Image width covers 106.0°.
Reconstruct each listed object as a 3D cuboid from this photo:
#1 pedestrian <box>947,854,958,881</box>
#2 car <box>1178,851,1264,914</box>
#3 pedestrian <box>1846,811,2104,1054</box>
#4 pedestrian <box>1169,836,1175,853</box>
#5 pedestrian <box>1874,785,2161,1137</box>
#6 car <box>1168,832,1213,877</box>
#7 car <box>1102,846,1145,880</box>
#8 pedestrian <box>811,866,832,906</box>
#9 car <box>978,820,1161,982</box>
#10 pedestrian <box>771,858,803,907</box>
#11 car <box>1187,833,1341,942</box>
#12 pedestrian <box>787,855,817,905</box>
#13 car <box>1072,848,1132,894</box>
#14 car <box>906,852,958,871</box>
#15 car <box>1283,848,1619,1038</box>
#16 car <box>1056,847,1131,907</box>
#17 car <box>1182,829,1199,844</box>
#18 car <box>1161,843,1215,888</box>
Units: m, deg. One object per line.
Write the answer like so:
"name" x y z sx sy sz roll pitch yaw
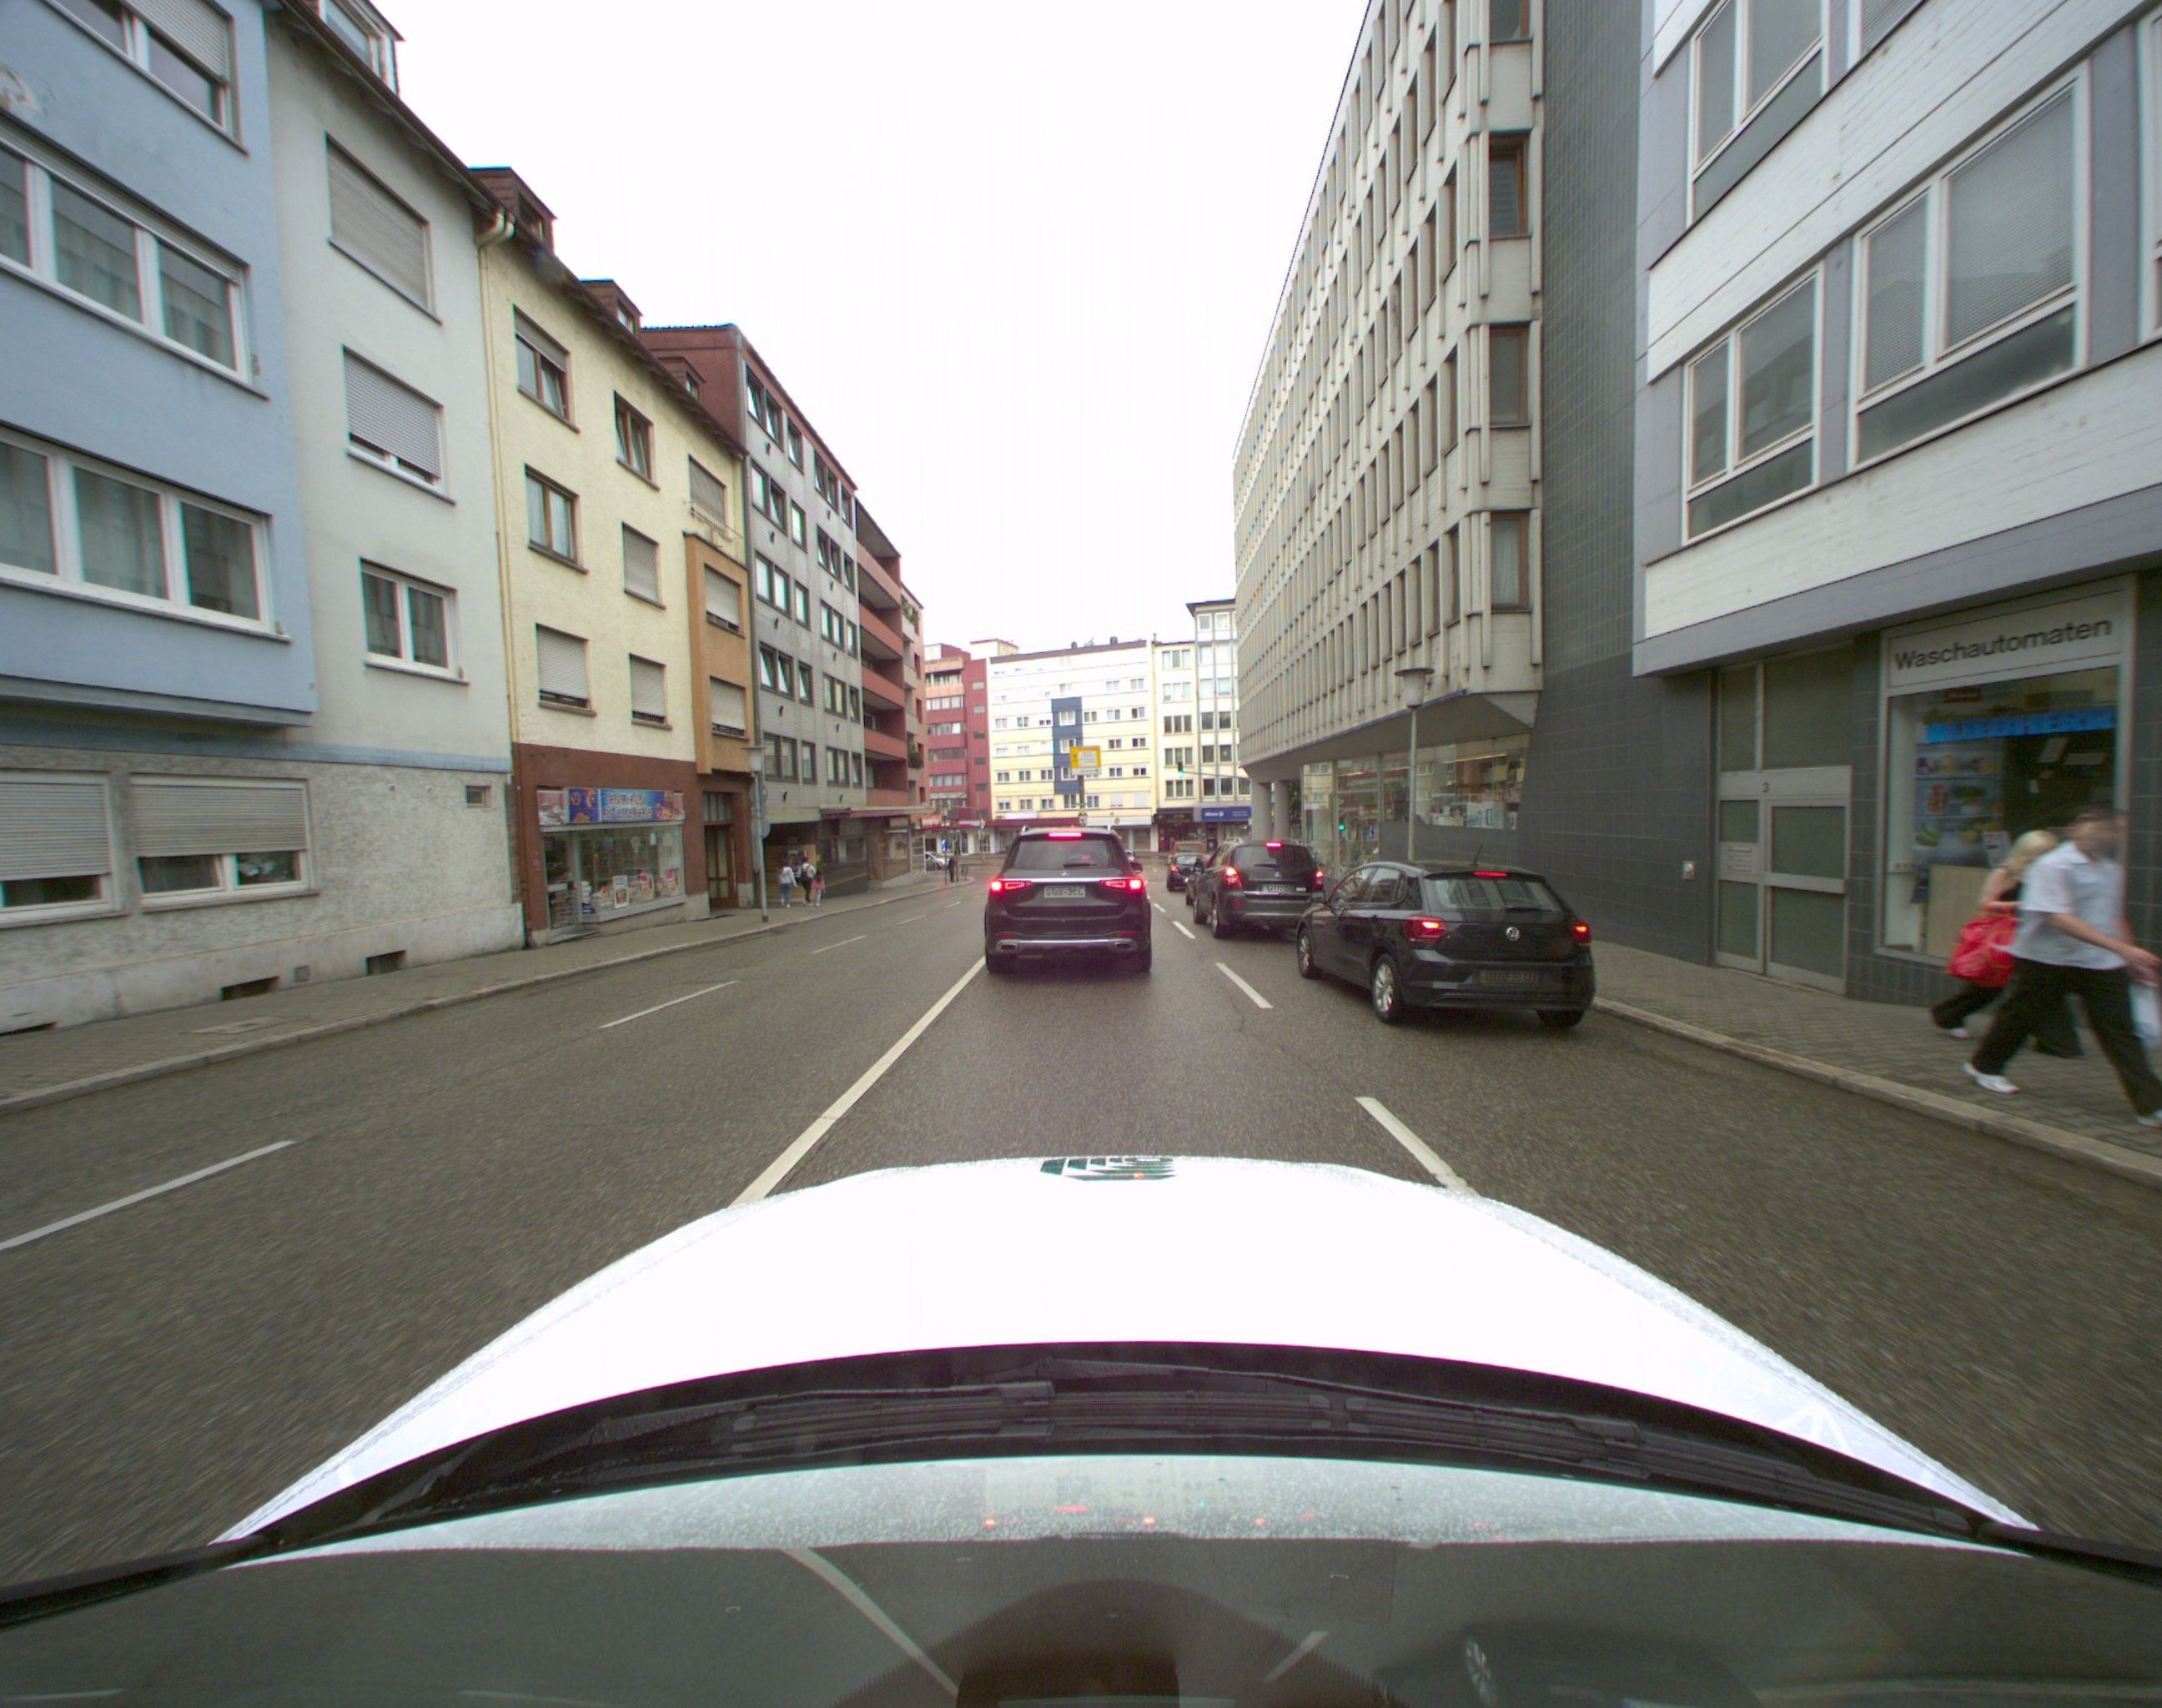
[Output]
"pedestrian" -8.137 0.856 51.521 0.552 1.697 0.623 -2 0 -2
"car" 3.635 0.683 21.718 1.759 1.397 4.004 4 1 3
"pedestrian" 6.328 0.518 5.824 0.763 1.551 0.890 -4 0 -2
"pedestrian" 9.385 -0.991 83.686 0.561 1.688 0.758 -2 6 8
"pedestrian" 5.456 0.511 4.575 0.782 1.705 1.120 -4 0 -2
"car" 5.856 0.021 44.030 2.231 2.228 5.437 0 0 6
"car" 1.970 0.442 39.060 1.917 1.515 4.664 1 -1 2
"pedestrian" -8.764 1.068 27.529 0.533 1.323 0.722 0 0 -7
"car" -0.116 0.504 11.440 2.032 1.799 4.662 0 0 0
"pedestrian" -9.622 0.928 26.682 0.826 1.560 0.722 0 0 -7
"car" 3.204 0.517 15.222 1.891 1.695 4.506 1 0 1
"pedestrian" -9.517 0.867 27.785 0.826 1.689 0.722 0 0 -7
"car" 0.778 0.565 29.790 1.986 1.486 4.239 -2 0 2
"car" -13.162 0.630 72.111 4.130 1.592 1.748 0 1 16
"car" 3.460 0.698 8.513 1.683 1.477 4.000 1 0 0
"car" 0.329 0.555 22.685 1.867 1.494 4.400 0 0 0
"car" 12.927 -2.035 96.180 1.786 1.670 4.012 -2 0 10
"car" 4.118 0.445 32.011 1.815 1.658 4.499 0 0 3
